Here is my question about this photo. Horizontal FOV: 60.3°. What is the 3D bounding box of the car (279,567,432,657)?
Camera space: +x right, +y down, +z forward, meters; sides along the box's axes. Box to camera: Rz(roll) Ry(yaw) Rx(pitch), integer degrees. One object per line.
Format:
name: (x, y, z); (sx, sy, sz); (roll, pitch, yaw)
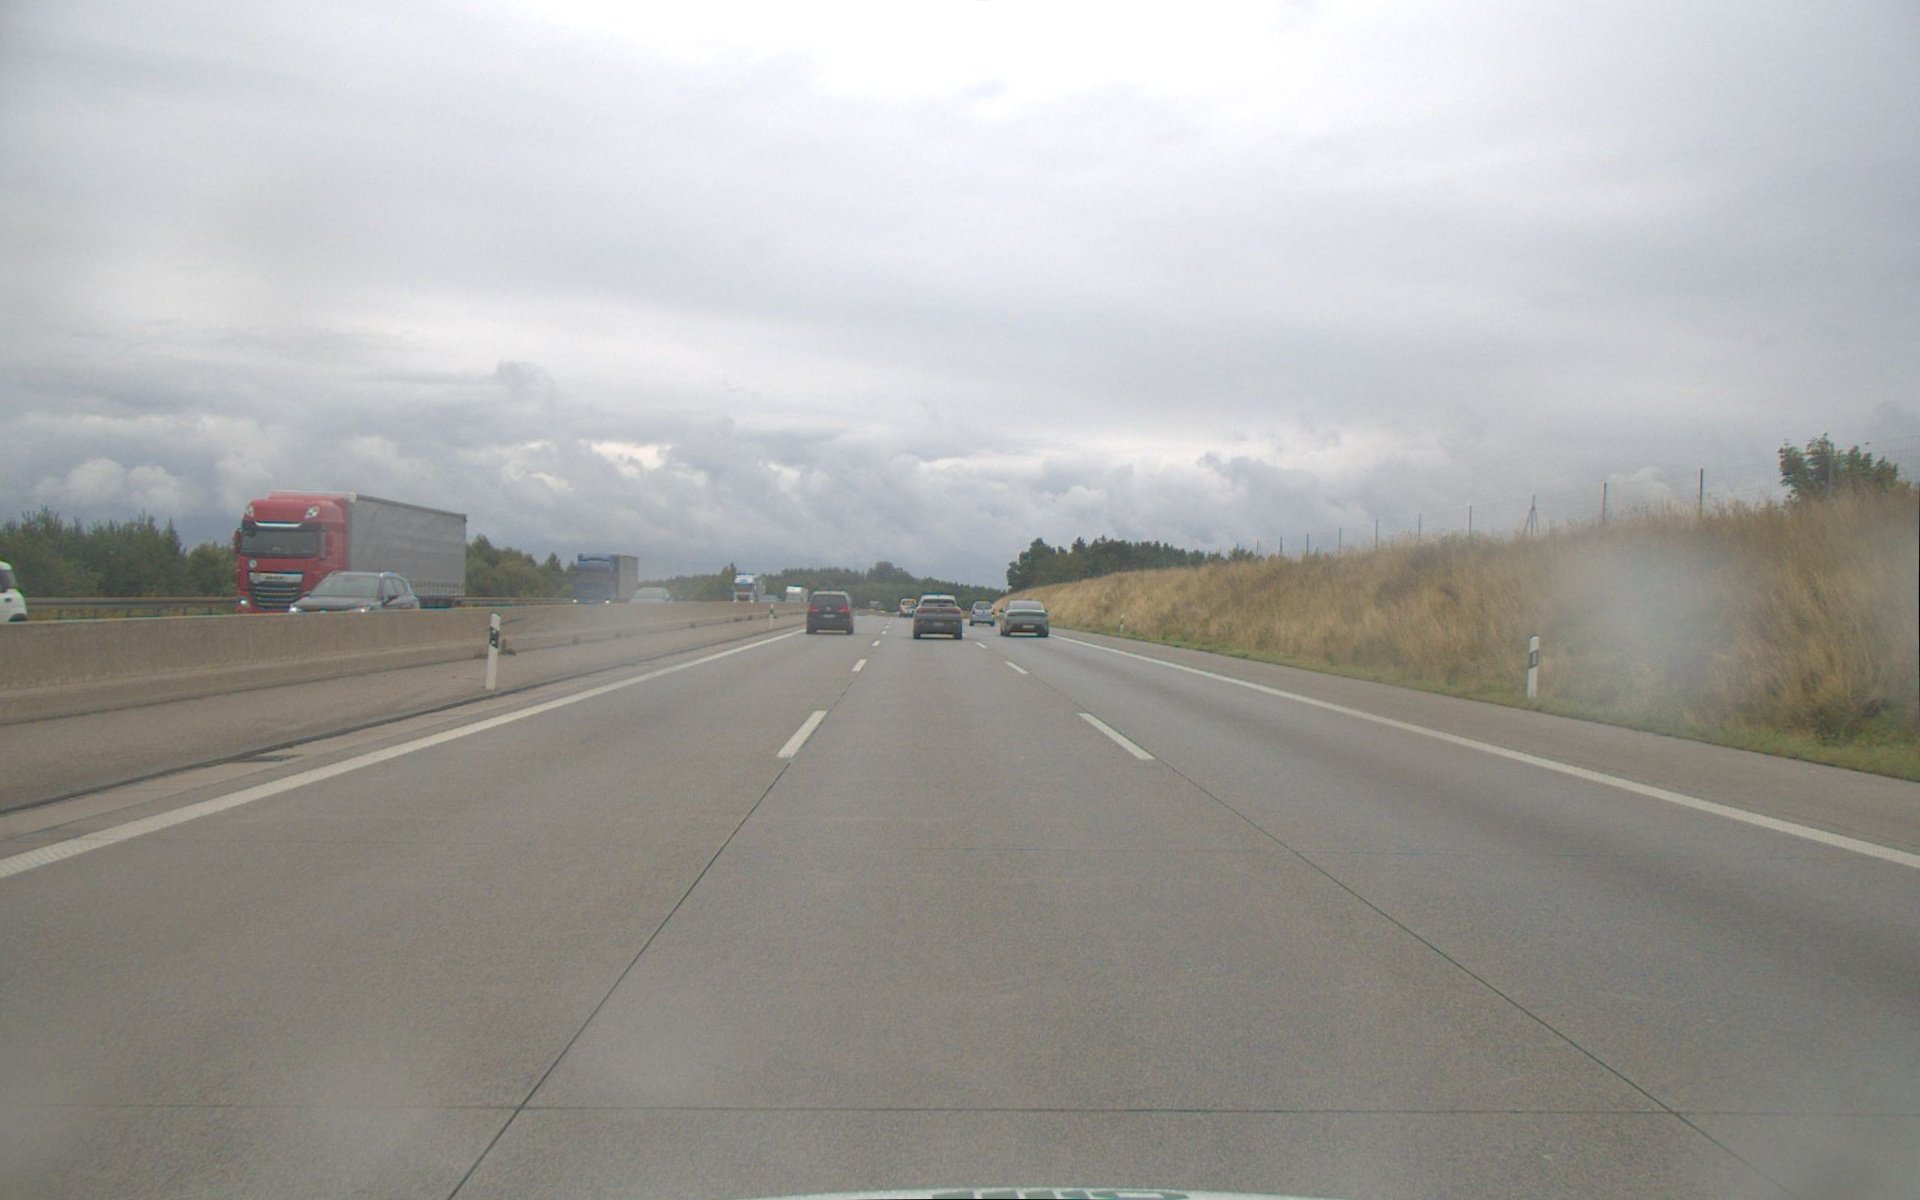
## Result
car: (-12.351, 0.218, 34.056); (1.679, 1.708, 4.180); (1, 0, -2)

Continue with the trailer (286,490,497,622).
trailer: (-20.444, -1.487, 60.688); (3.412, 4.275, 12.926); (1, 0, -1)

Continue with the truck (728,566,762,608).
truck: (-25.812, -1.572, 199.173); (3.516, 4.903, 5.866); (1, 0, -3)

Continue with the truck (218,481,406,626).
truck: (-20.297, -1.406, 52.251); (3.399, 4.255, 6.492); (1, 0, -1)

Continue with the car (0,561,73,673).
car: (-15.169, 0.248, 24.694); (1.581, 1.680, 4.294); (1, 0, -1)

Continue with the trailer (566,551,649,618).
trailer: (-21.870, -0.982, 103.288); (2.792, 3.904, 12.395); (1, 0, -1)

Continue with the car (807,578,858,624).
car: (-5.131, 0.031, 66.909); (1.748, 1.777, 3.915); (1, 0, 0)

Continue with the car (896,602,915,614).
car: (-5.866, 0.887, 178.936); (1.760, 1.243, 4.001); (1, 0, 2)

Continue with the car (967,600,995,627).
car: (1.279, 0.794, 101.235); (1.456, 1.496, 3.503); (4, 0, -2)

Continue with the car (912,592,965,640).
car: (-0.793, 0.569, 62.543); (1.859, 1.719, 5.266); (1, 0, 0)

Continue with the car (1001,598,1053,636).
car: (2.778, 0.682, 69.336); (1.973, 1.471, 4.745); (1, 0, 0)
